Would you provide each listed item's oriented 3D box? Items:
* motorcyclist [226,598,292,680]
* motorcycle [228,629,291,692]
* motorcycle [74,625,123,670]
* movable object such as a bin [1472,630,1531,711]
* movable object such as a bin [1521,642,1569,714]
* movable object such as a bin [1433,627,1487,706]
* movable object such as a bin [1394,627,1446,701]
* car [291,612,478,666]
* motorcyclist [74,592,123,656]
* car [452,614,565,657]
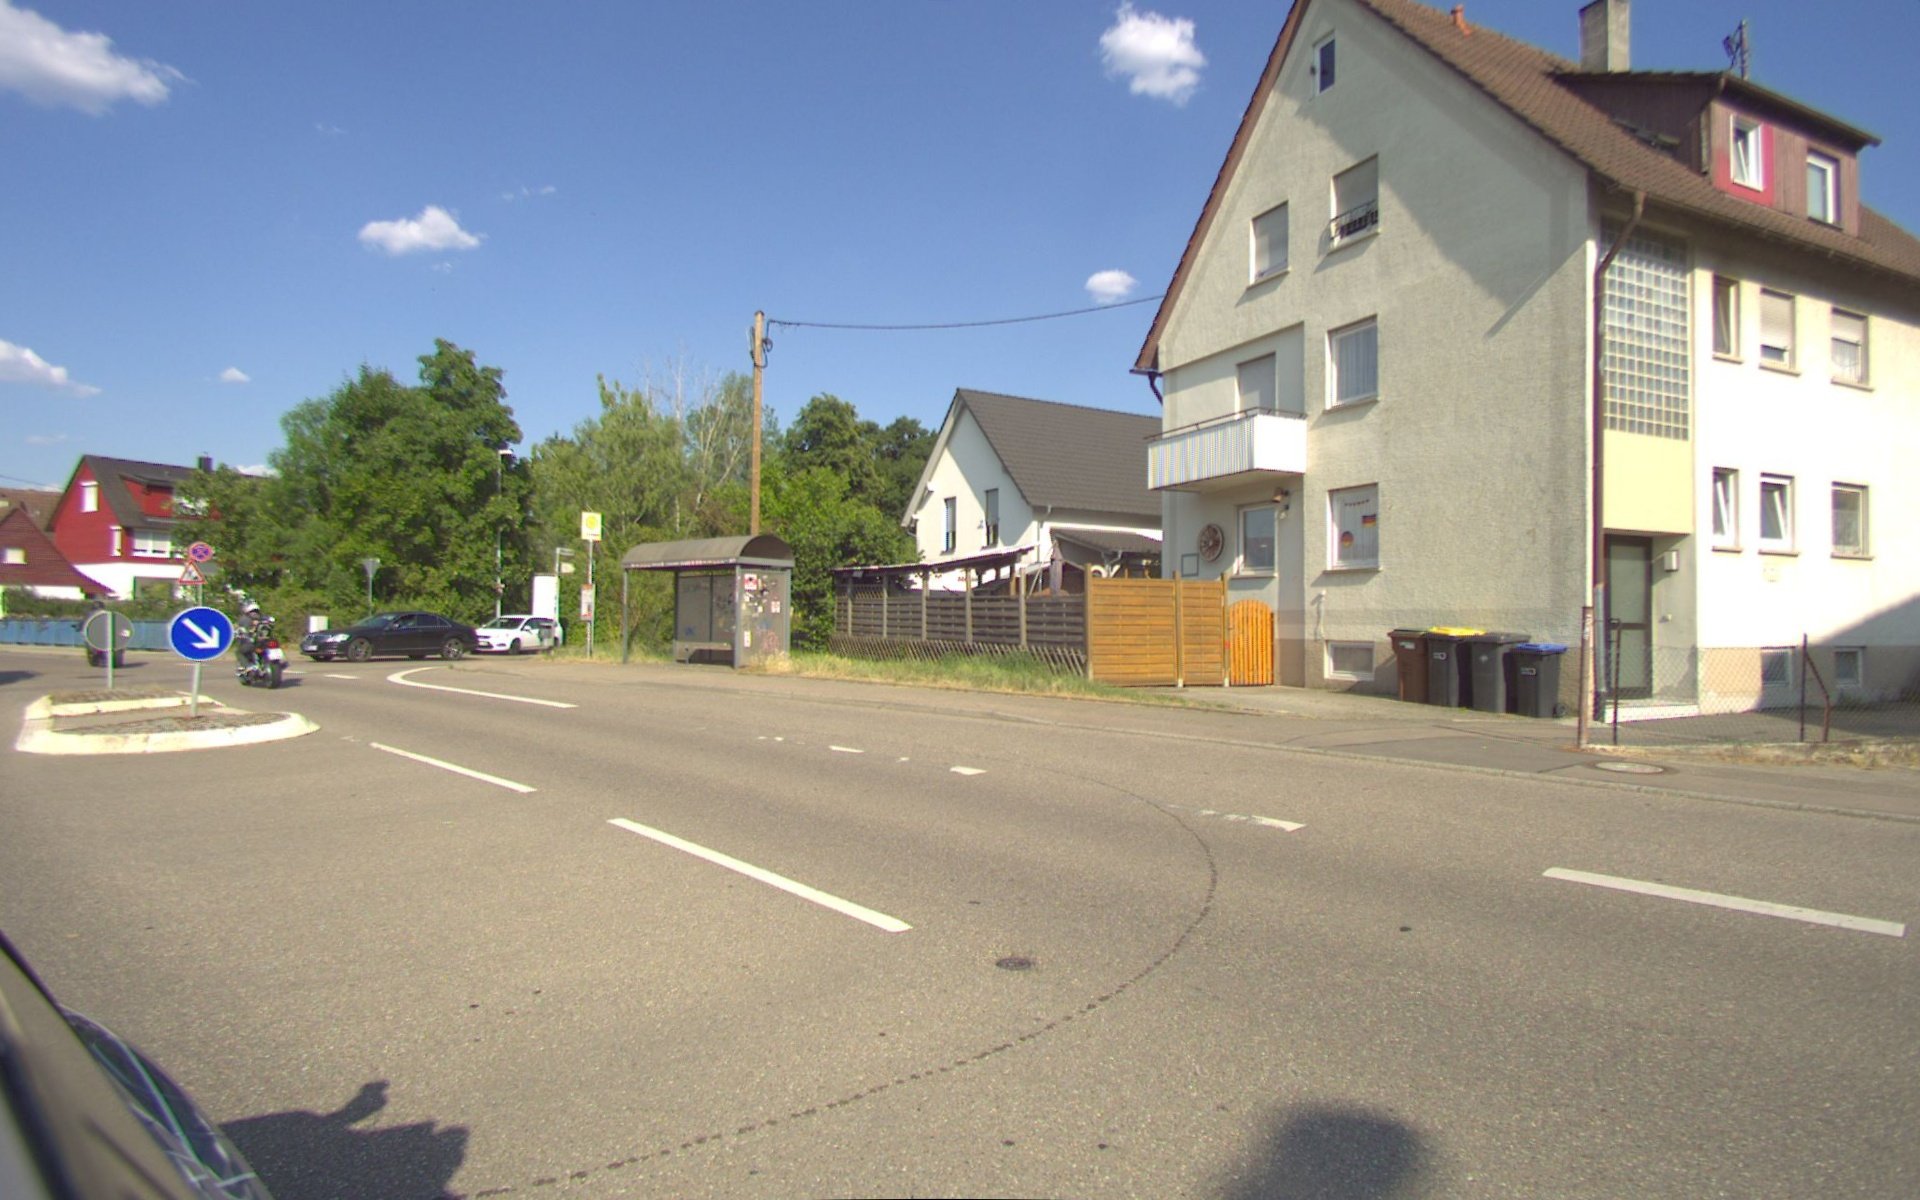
[{"bbox_3d":[-12.756,0.688,18.409,1.037,1.447,0.794,-1,-1,43],"label":"motorcyclist"},{"bbox_3d":[-12.725,1.070,18.361,2.028,1.020,0.519,0,0,44],"label":"motorcycle"},{"bbox_3d":[-21.386,1.162,25.111,2.025,1.020,0.533,0,1,39],"label":"motorcycle"},{"bbox_3d":[7.201,0.930,13.478,0.356,1.031,0.579,1,0,-27],"label":"movable object such as a bin"},{"bbox_3d":[7.526,0.995,13.021,0.356,0.889,0.401,1,0,-27],"label":"movable object such as a bin"},{"bbox_3d":[6.916,0.915,14.011,0.356,1.049,0.560,1,0,-27],"label":"movable object such as a bin"},{"bbox_3d":[6.622,0.915,14.578,0.356,1.023,0.560,1,0,-27],"label":"movable object such as a bin"},{"bbox_3d":[-16.945,1.118,30.127,1.759,1.442,4.810,1,-1,21],"label":"car"},{"bbox_3d":[-21.392,0.586,25.123,1.015,1.538,0.729,0,2,39],"label":"motorcyclist"},{"bbox_3d":[-16.996,1.308,38.356,1.841,1.503,4.262,1,-1,9],"label":"car"}]
